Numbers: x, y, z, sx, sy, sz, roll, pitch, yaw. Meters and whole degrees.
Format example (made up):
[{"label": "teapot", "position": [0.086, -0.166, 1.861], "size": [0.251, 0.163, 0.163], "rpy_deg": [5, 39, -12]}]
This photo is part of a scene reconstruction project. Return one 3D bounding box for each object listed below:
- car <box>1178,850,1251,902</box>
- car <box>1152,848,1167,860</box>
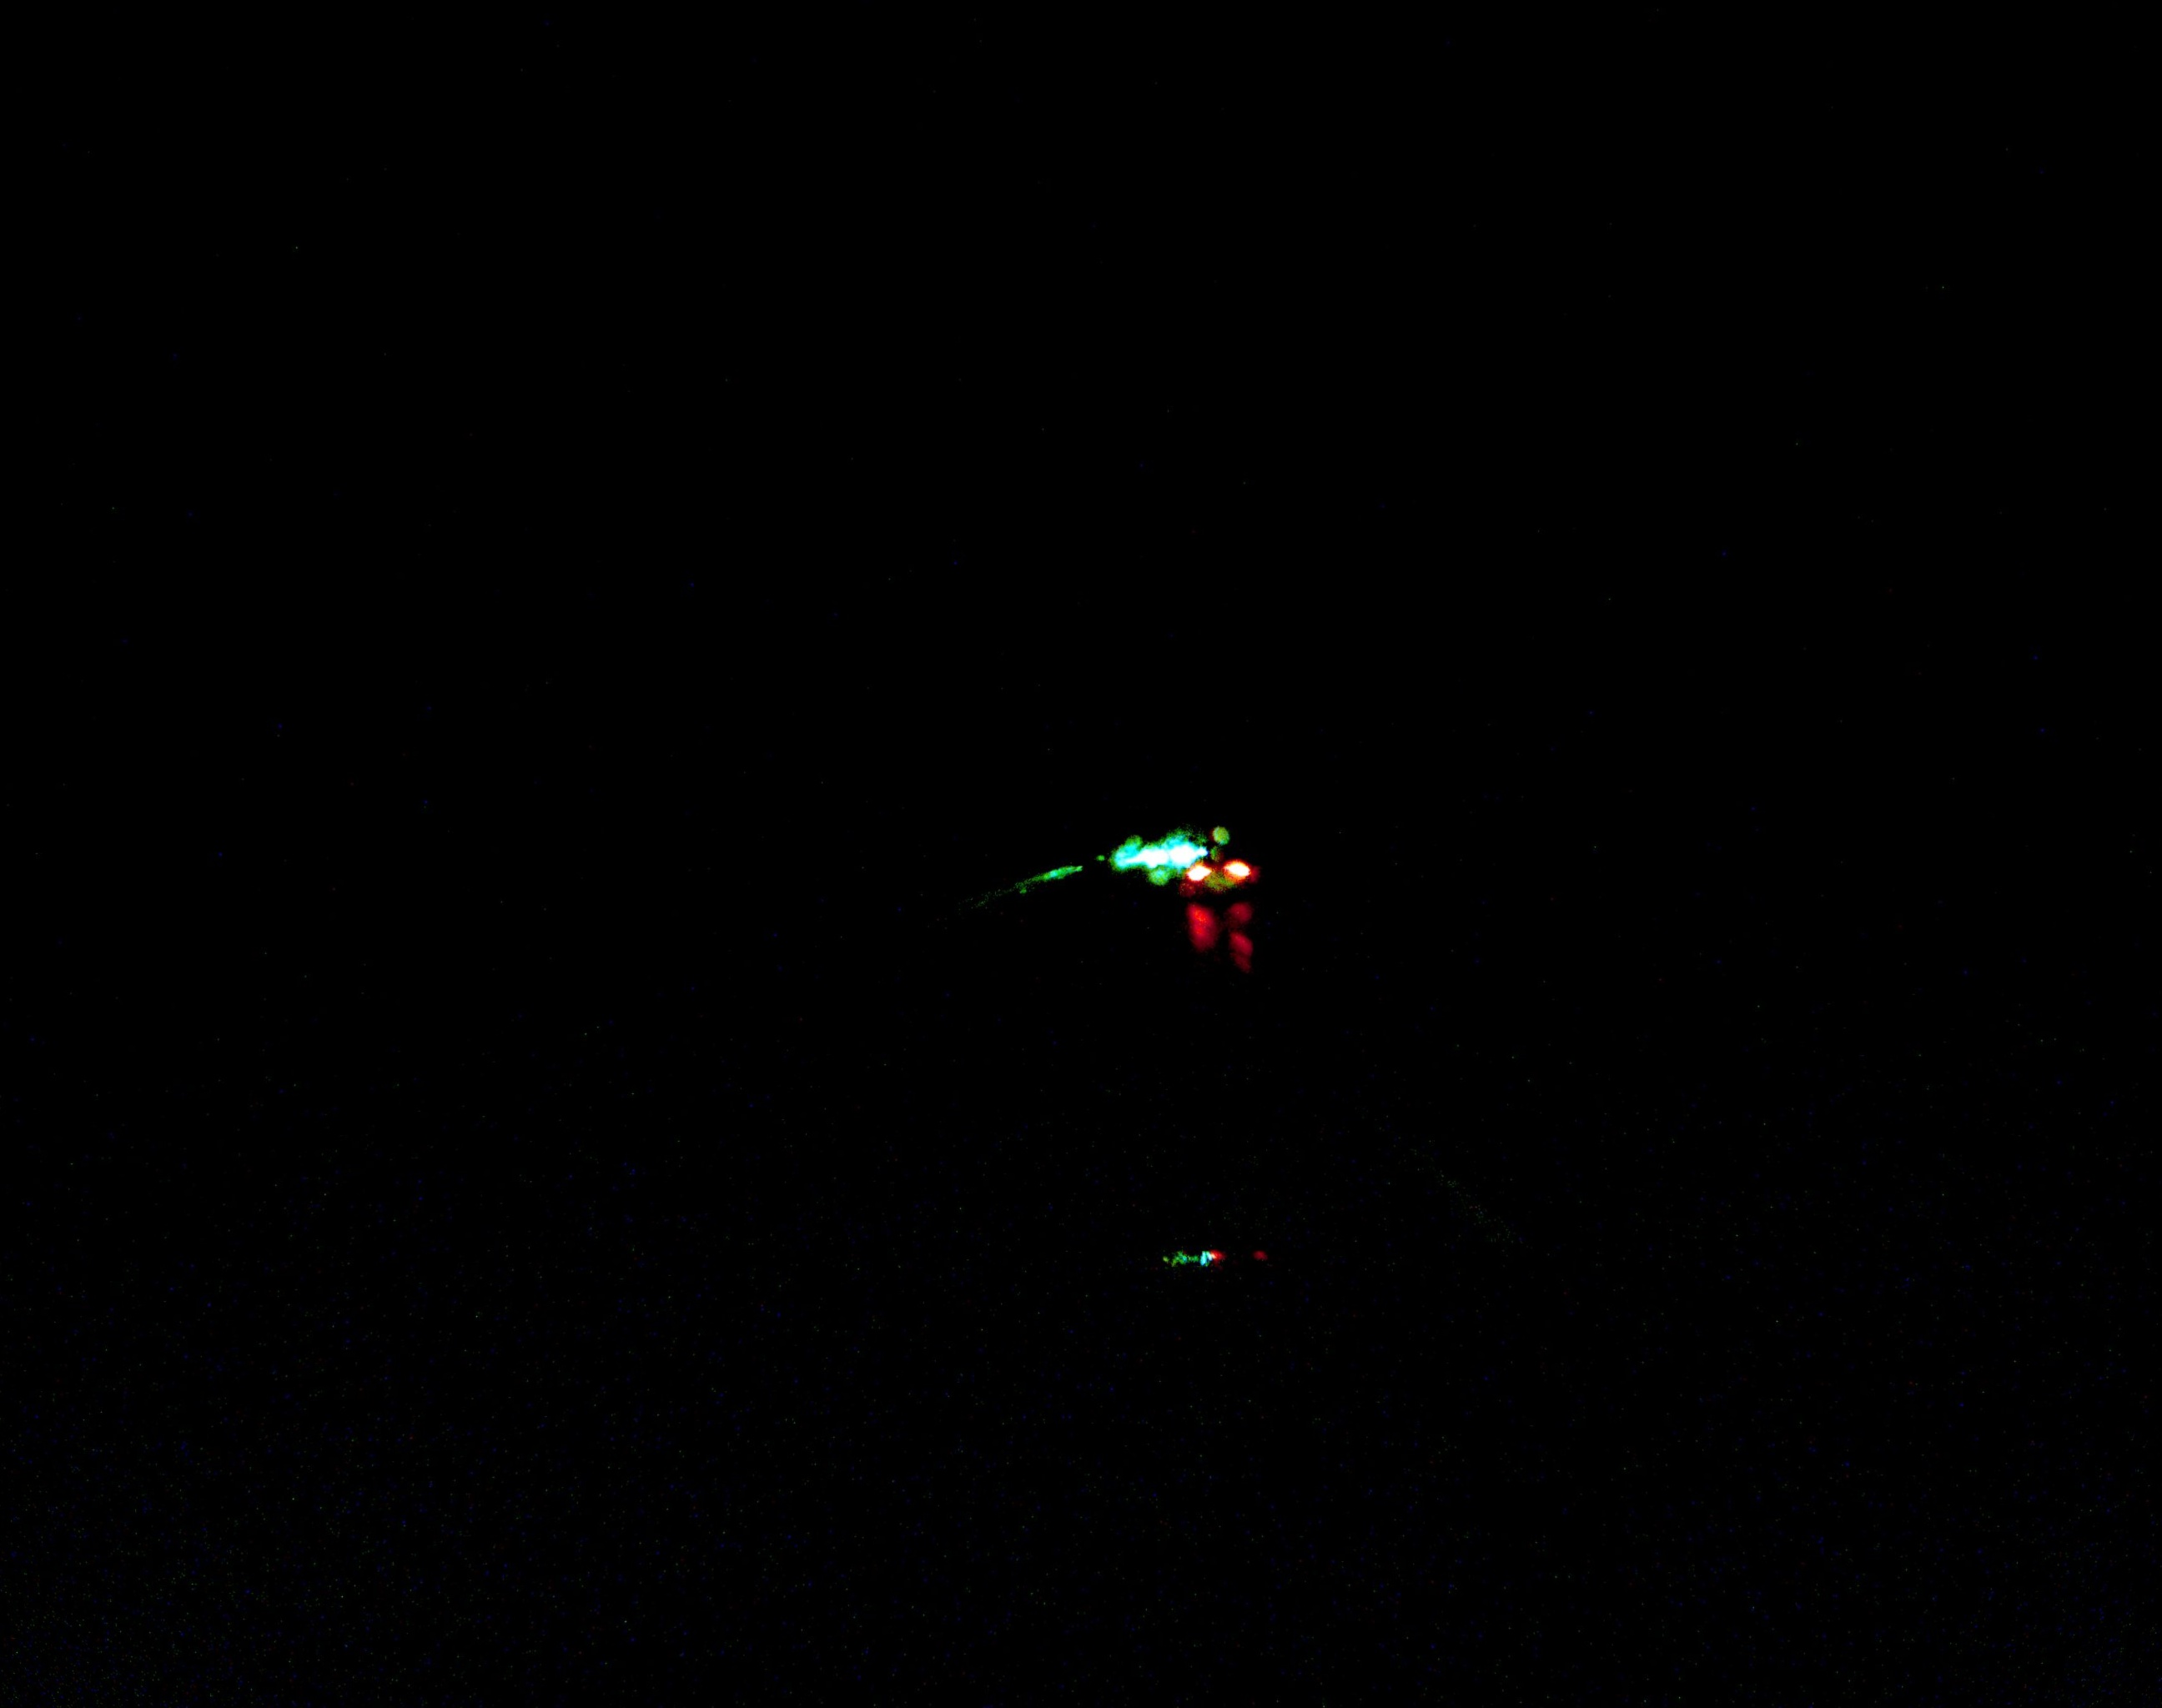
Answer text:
[{"label": "car", "position": [4.238, 0.650, 24.637], "size": [1.706, 1.497, 3.683], "rpy_deg": [-2, 1, 1]}, {"label": "car", "position": [10.947, 0.058, 106.449], "size": [1.747, 1.623, 3.736], "rpy_deg": [-1, 0, 1]}]
